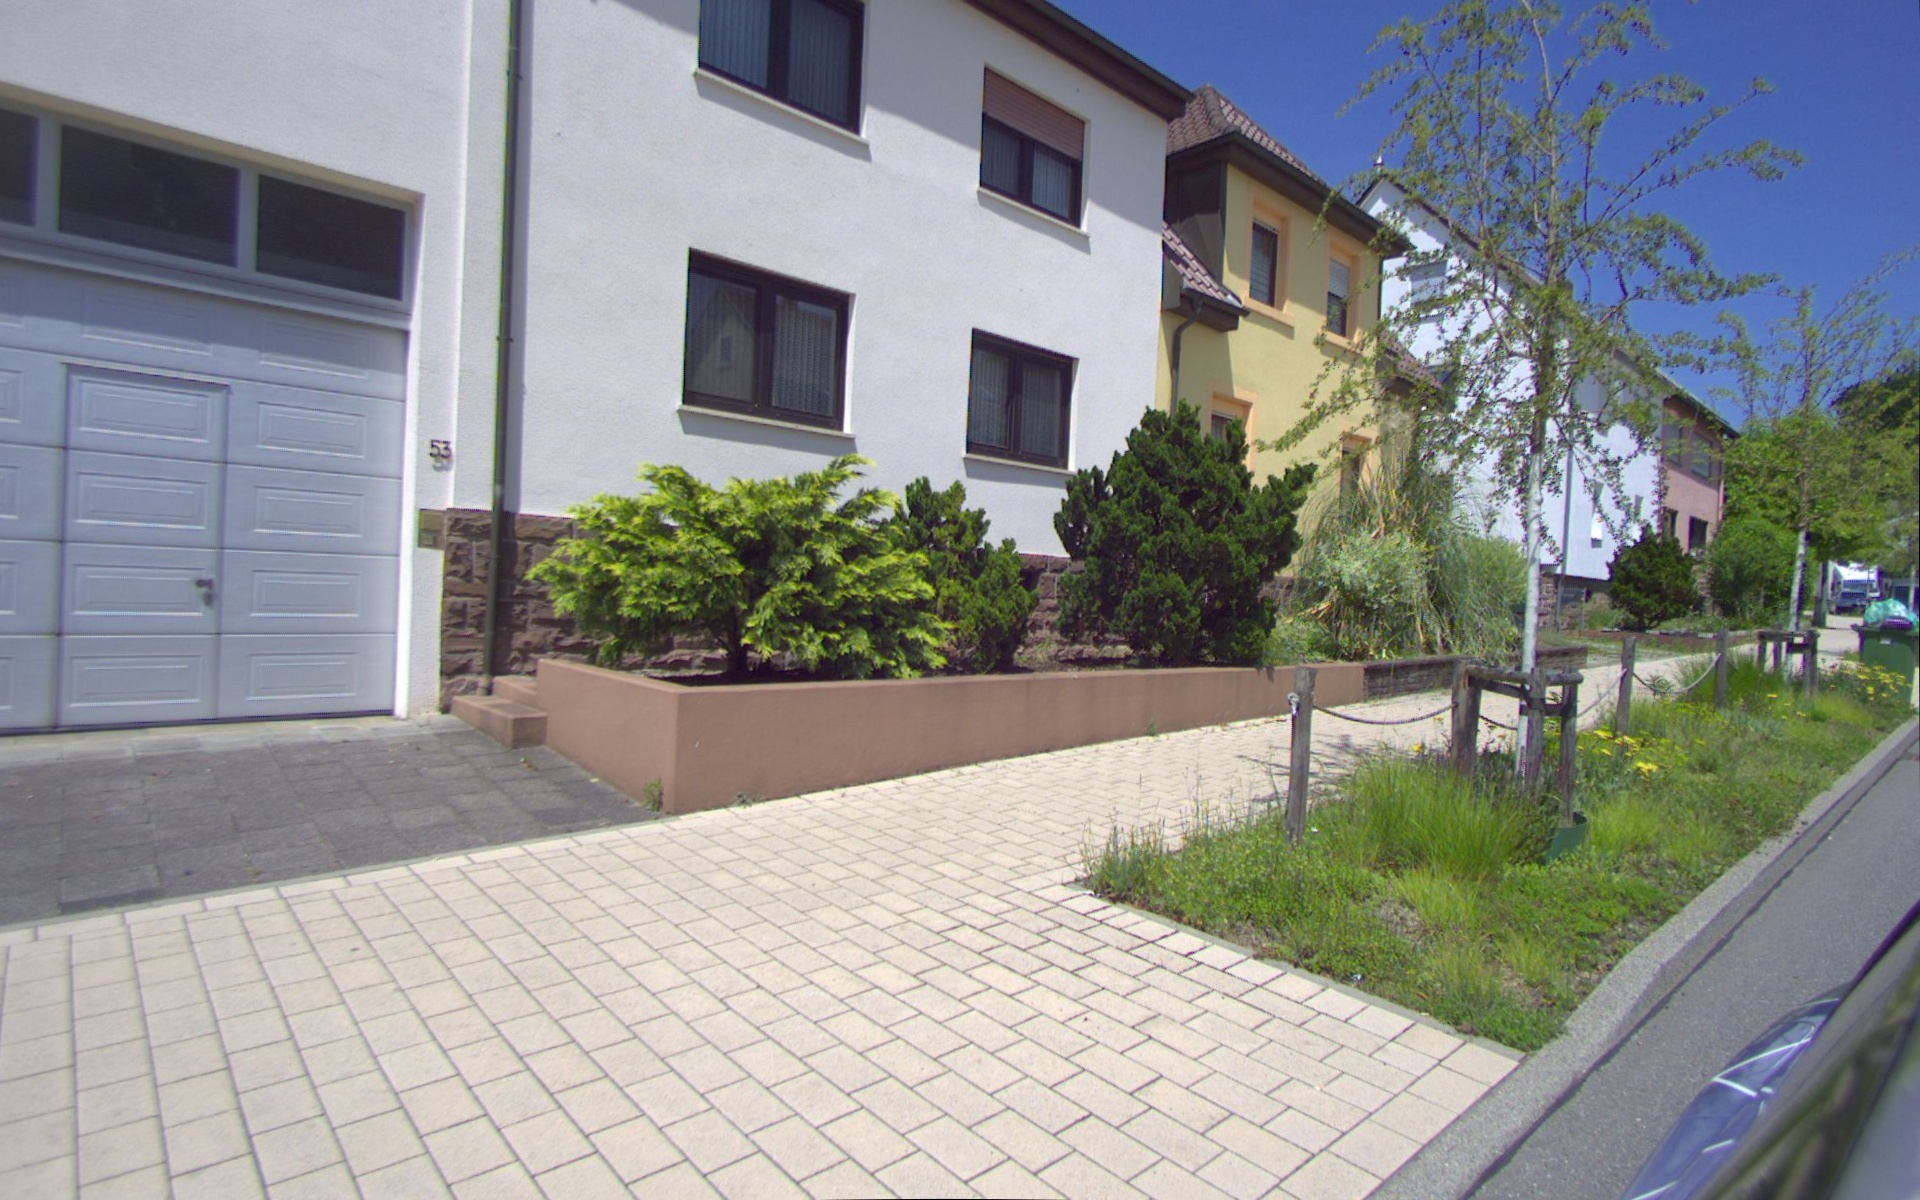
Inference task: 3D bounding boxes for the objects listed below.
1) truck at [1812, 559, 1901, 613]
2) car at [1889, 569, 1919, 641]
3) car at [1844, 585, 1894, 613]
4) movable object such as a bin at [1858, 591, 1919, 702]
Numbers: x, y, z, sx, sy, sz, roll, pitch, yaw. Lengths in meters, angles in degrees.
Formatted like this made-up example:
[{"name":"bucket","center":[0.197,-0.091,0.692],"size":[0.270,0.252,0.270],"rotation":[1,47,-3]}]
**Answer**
[{"name":"truck","center":[61.106,-0.979,69.181],"size":[2.783,3.457,8.037],"rotation":[0,1,29]},{"name":"car","center":[27.111,0.133,27.988],"size":[1.856,1.865,4.596],"rotation":[4,4,44]},{"name":"car","center":[48.929,-0.070,54.518],"size":[1.668,1.393,3.946],"rotation":[3,3,38]},{"name":"movable object such as a bin","center":[12.509,0.596,13.453],"size":[0.910,1.413,0.792],"rotation":[0,1,-44]}]
